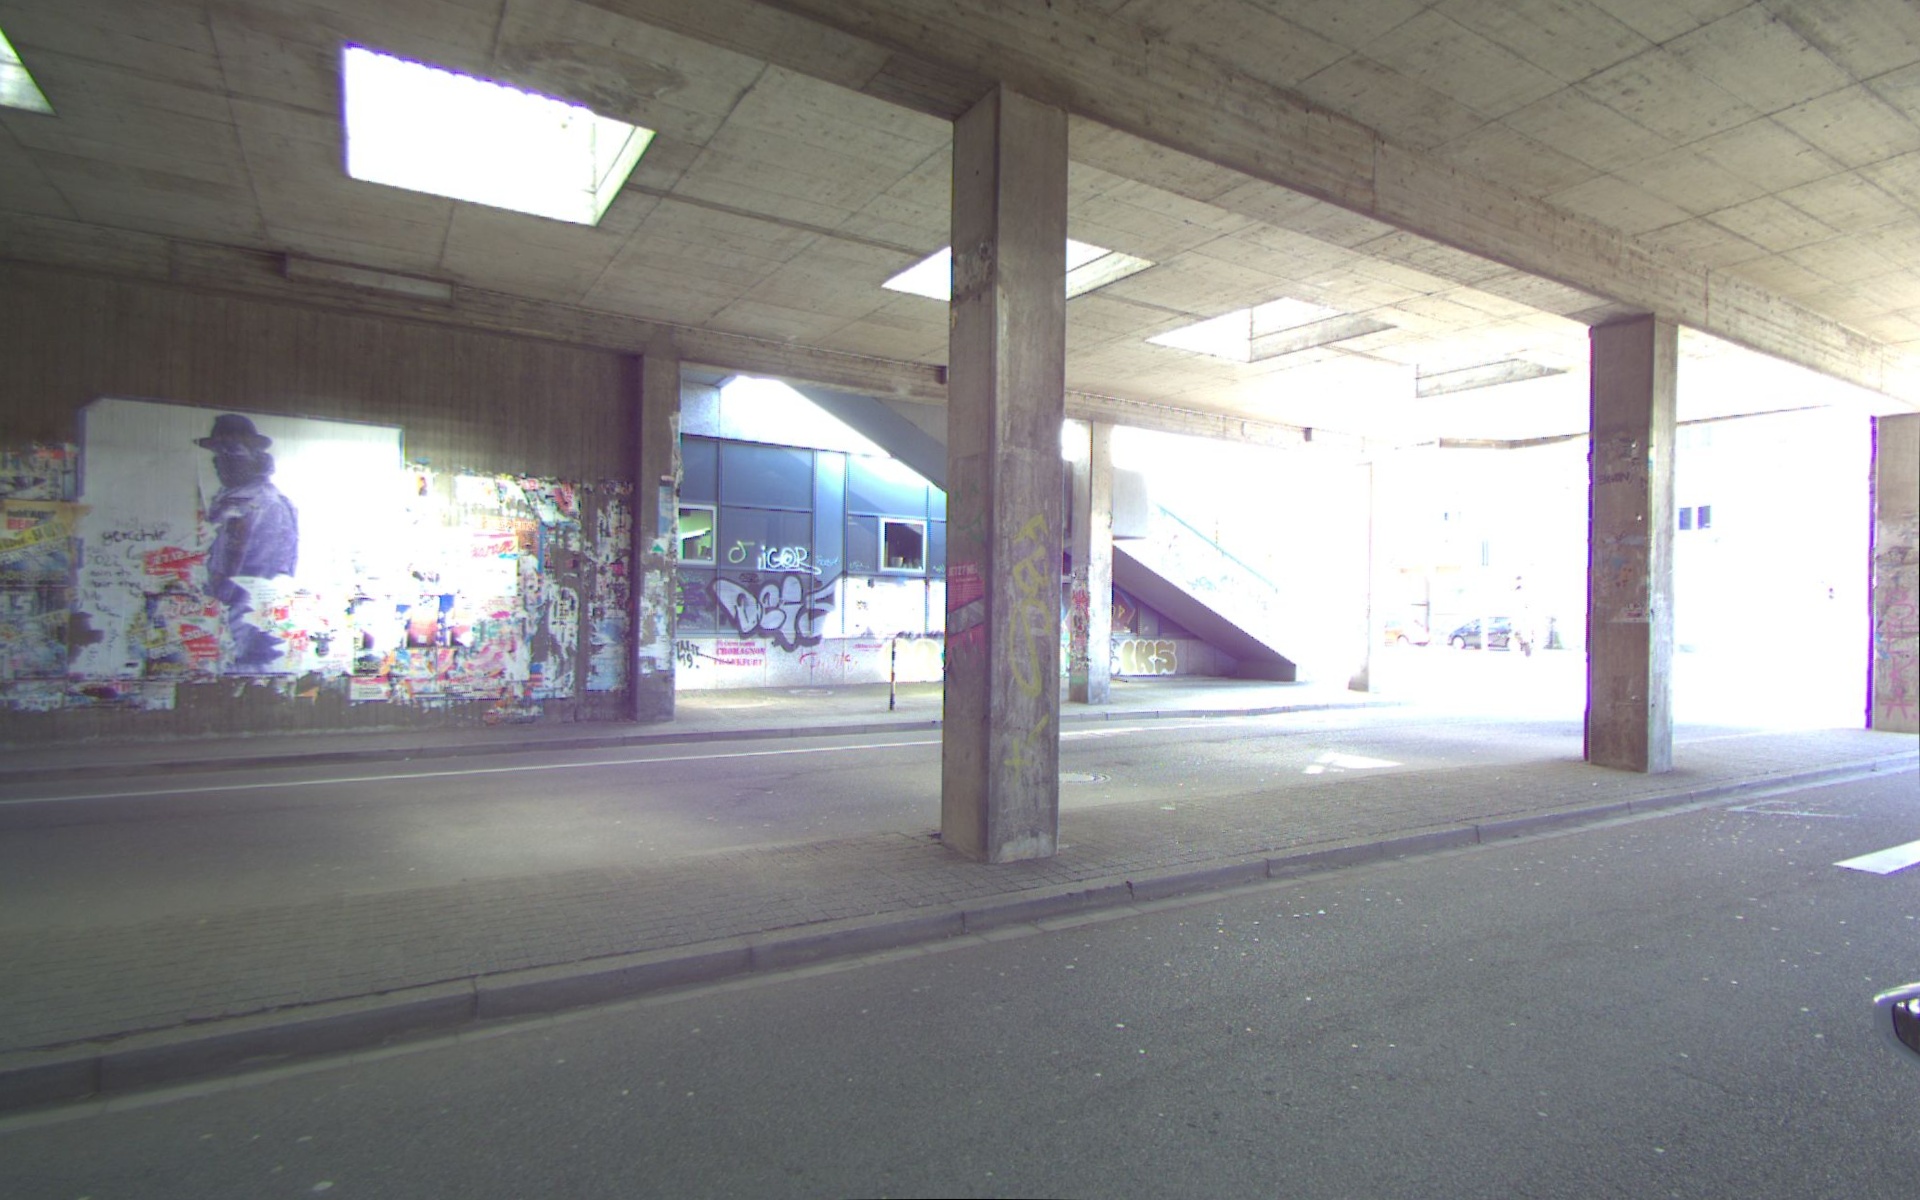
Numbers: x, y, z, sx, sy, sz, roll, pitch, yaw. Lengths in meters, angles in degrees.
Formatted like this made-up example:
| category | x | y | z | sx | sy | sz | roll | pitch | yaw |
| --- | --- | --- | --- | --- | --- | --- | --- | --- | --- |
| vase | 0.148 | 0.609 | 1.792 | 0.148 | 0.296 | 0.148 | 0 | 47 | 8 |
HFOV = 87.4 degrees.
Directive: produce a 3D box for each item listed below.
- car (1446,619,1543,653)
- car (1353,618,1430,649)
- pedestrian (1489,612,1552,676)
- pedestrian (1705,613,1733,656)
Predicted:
| category | x | y | z | sx | sy | sz | roll | pitch | yaw |
| --- | --- | --- | --- | --- | --- | --- | --- | --- | --- |
| car | 25.433 | 1.675 | 47.891 | 1.732 | 1.528 | 3.735 | 1 | -1 | -31 |
| car | 22.540 | 1.729 | 52.546 | 1.543 | 1.526 | 3.518 | 1 | -1 | -29 |
| pedestrian | 15.818 | 1.228 | 28.367 | 1.123 | 1.760 | 1.111 | 1 | -1 | -17 |
| pedestrian | 31.161 | 1.418 | 41.250 | 0.618 | 1.727 | 0.716 | 2 | 0 | -35 |
